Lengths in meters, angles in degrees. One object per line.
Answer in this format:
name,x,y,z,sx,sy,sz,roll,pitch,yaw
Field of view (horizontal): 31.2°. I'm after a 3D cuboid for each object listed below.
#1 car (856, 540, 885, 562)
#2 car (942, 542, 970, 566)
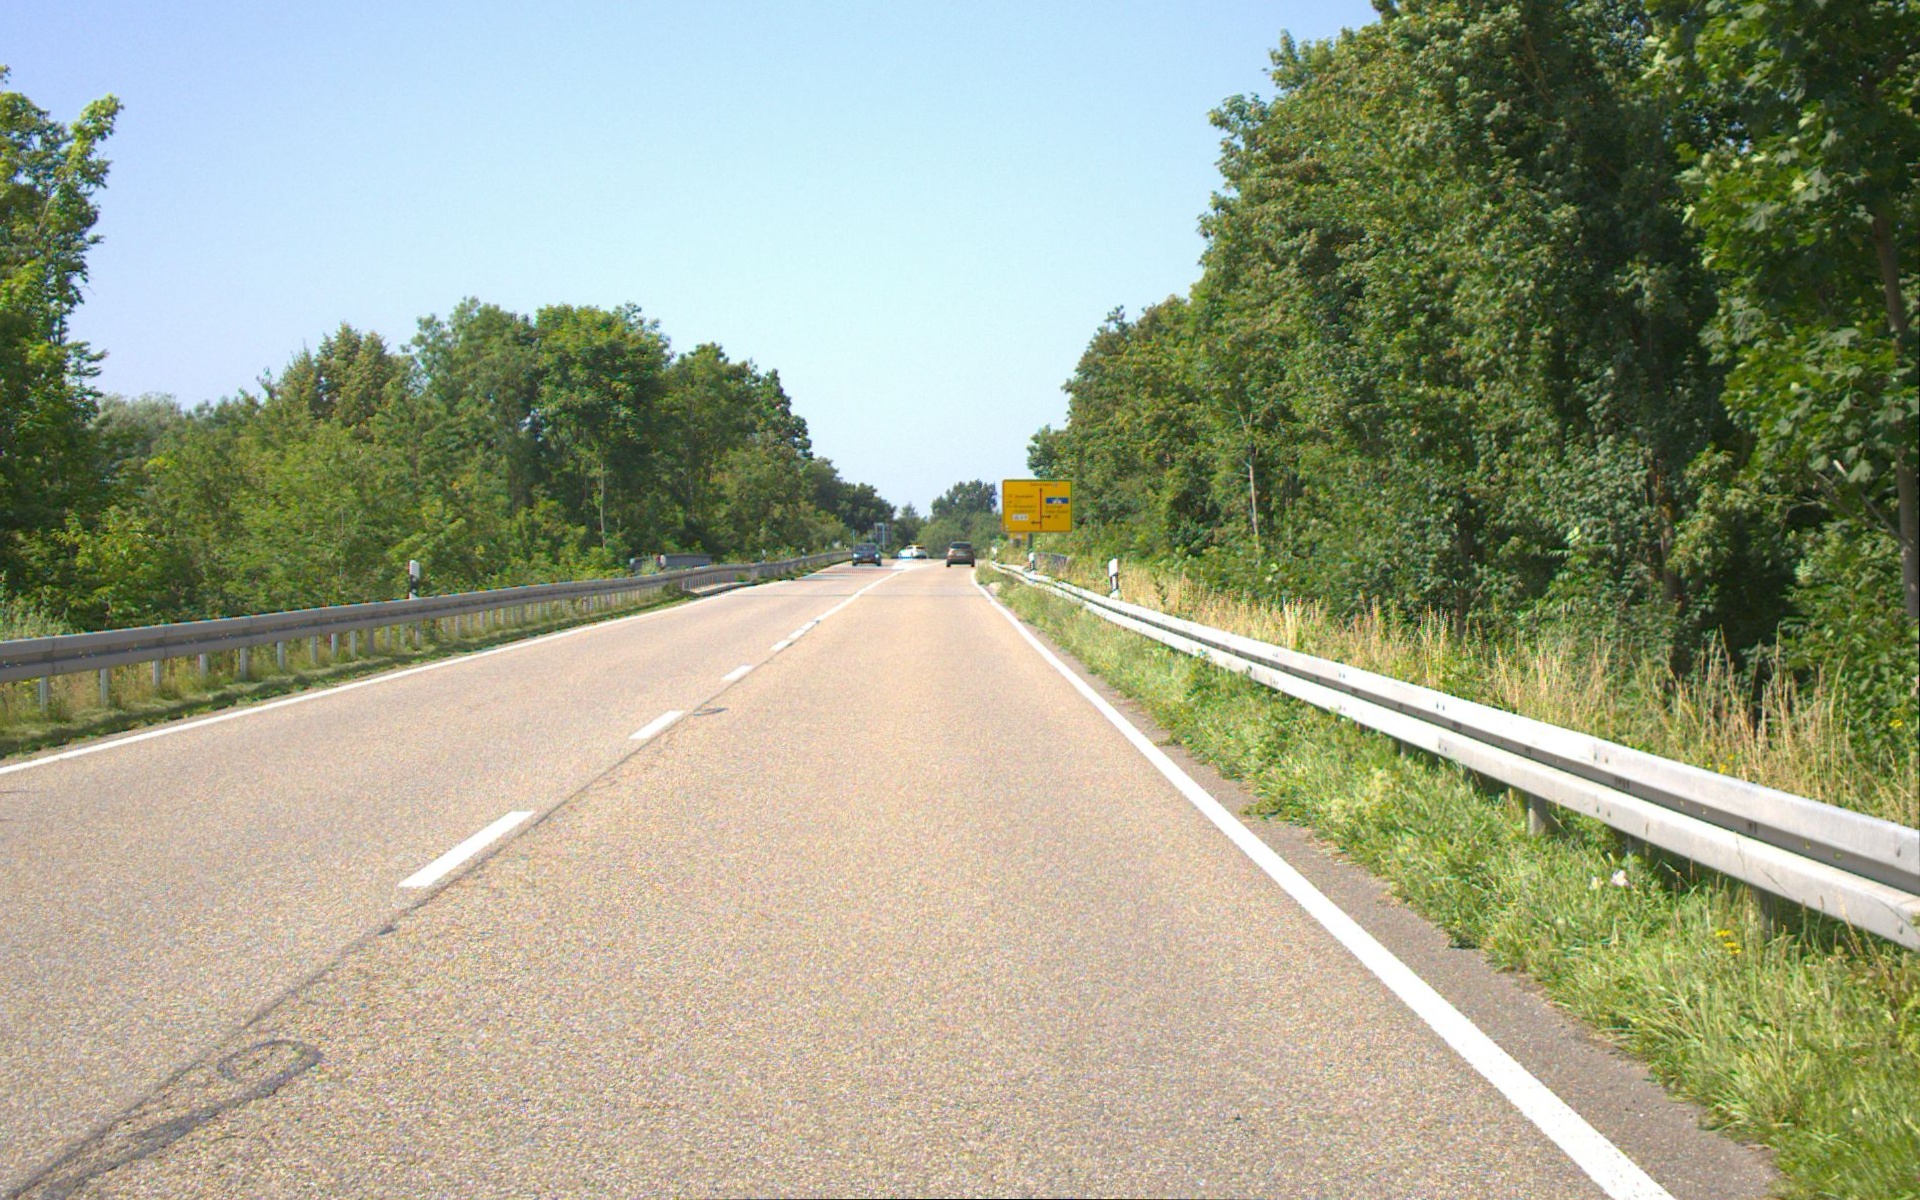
car,-5.820,-3.174,224.173,1.746,1.420,4.677,0,1,0
car,-0.239,-2.906,215.706,1.741,1.465,3.692,0,1,1
